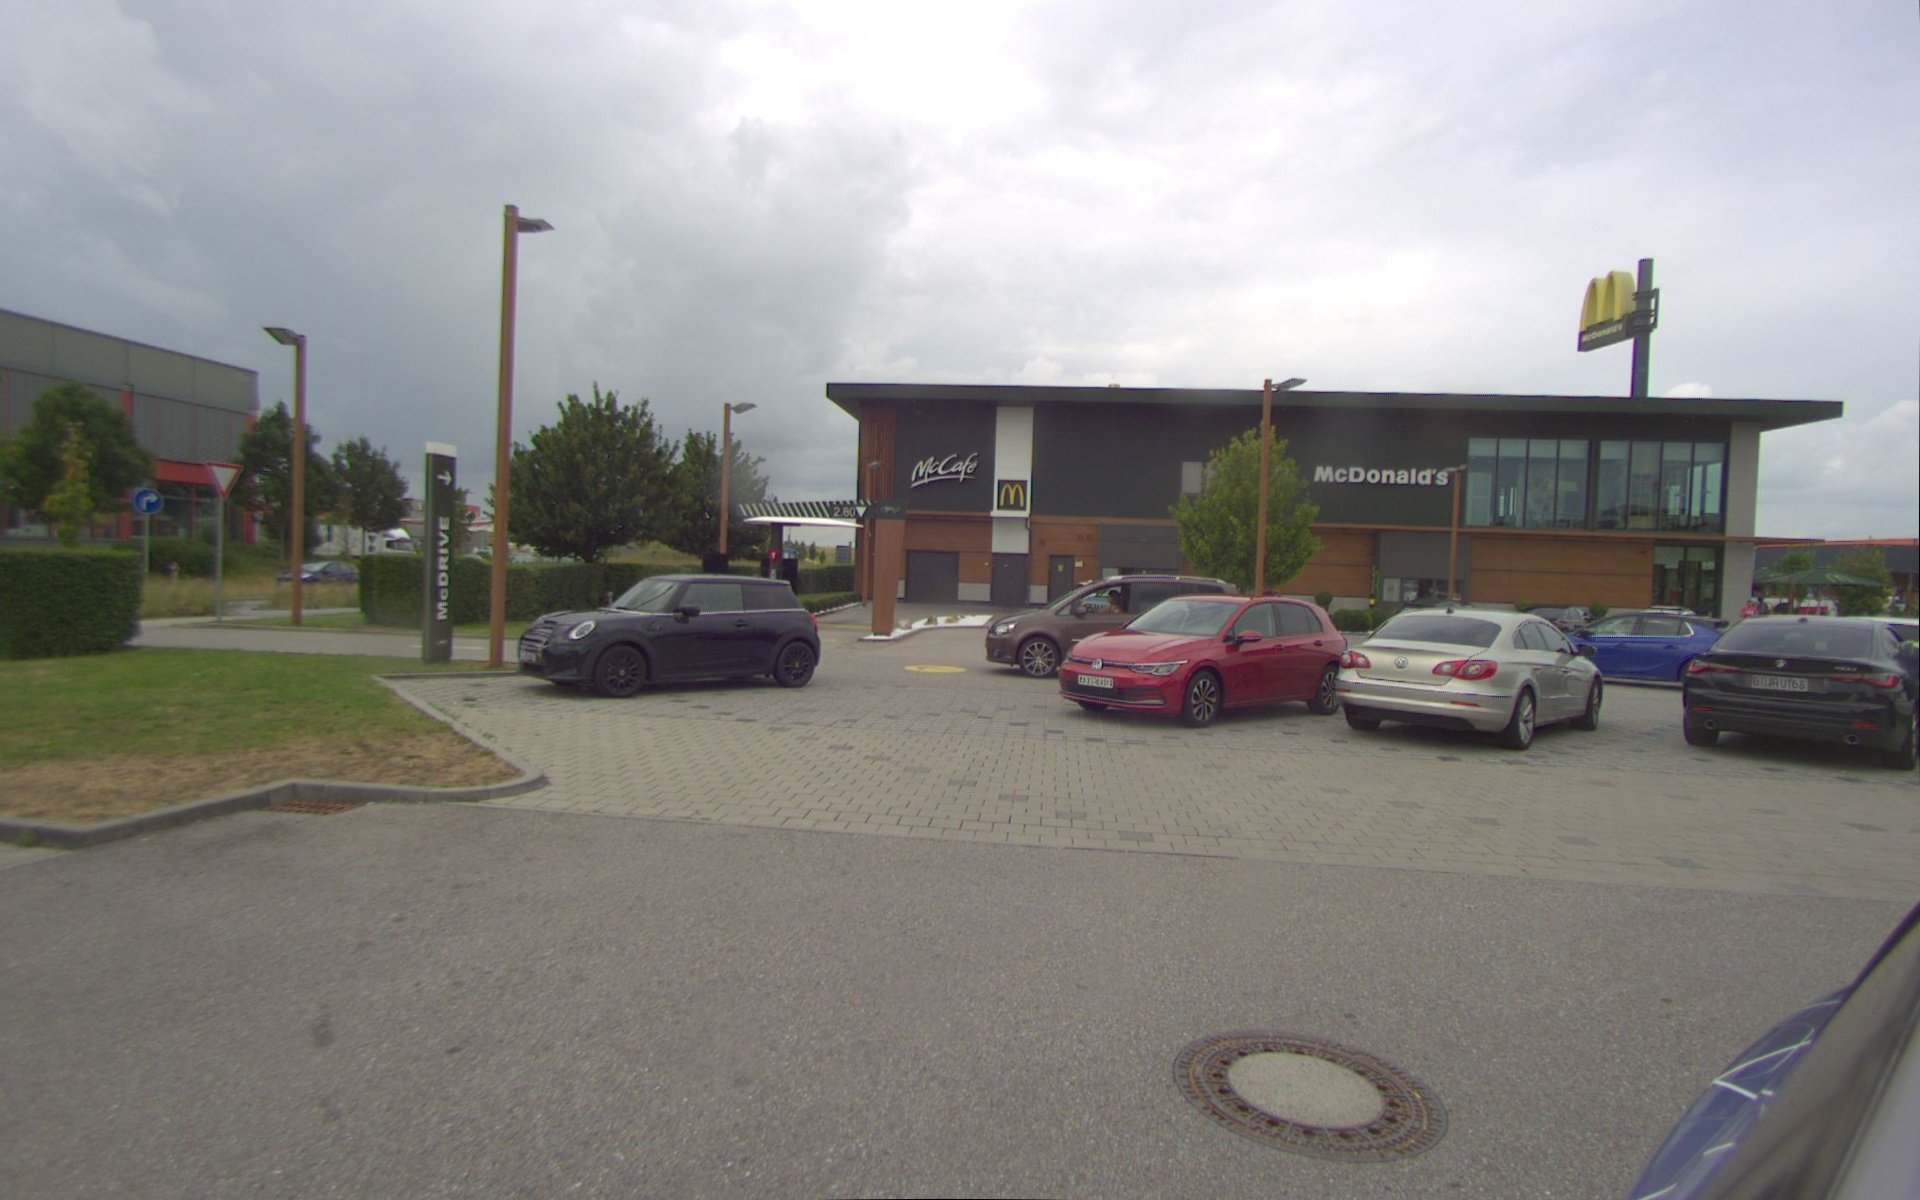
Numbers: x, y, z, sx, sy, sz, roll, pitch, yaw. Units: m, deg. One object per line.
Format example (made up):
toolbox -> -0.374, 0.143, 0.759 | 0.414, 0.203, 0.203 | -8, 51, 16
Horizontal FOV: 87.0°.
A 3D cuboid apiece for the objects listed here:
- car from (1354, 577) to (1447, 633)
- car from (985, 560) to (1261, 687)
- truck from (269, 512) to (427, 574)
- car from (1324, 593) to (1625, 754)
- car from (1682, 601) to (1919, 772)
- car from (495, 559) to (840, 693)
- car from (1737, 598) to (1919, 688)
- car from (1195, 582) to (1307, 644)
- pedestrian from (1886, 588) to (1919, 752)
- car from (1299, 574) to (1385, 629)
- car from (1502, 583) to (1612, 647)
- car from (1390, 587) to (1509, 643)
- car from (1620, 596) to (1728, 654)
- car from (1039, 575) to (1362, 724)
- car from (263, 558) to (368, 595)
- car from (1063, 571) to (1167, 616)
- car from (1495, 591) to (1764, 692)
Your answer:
car -> 15.961, 0.114, 36.881 | 1.721, 1.775, 3.998 | 3, 2, 3
car -> 2.520, 0.328, 16.456 | 4.113, 1.710, 1.811 | 3, 2, 2
truck -> -52.288, -4.887, 86.529 | 11.799, 4.553, 3.760 | 4, 2, 8
car -> 5.969, 0.696, 11.468 | 1.749, 1.430, 4.387 | 2, 1, 45
car -> 9.574, 0.808, 11.172 | 4.331, 1.481, 1.684 | 1, 1, -42
car -> -3.593, 0.280, 12.877 | 3.866, 1.430, 1.683 | 1, 1, -45
car -> 17.289, 0.824, 18.946 | 1.750, 1.485, 4.102 | 3, 0, -44
car -> 9.583, 0.352, 33.187 | 1.993, 1.771, 3.940 | 5, 4, 42
pedestrian -> 10.337, 0.733, 10.675 | 0.828, 1.699, 0.748 | 1, -1, -41
car -> 13.864, -0.006, 36.957 | 1.721, 1.775, 3.998 | 3, 2, 3
car -> 18.847, 0.404, 31.867 | 4.190, 1.681, 1.895 | -2, 5, -44
car -> 15.627, 0.425, 32.237 | 4.019, 1.593, 1.837 | 0, 3, -39
car -> 22.595, 0.723, 31.965 | 3.930, 1.504, 1.789 | -2, 5, -40
car -> 2.970, 0.517, 12.128 | 3.927, 1.482, 1.686 | 1, 1, -39
car -> -28.378, -1.040, 44.719 | 1.635, 1.477, 3.908 | 4, 2, 12
car -> 6.217, -0.282, 40.941 | 3.930, 1.524, 1.787 | 3, 2, 5
car -> 12.988, 0.733, 19.837 | 1.737, 1.528, 3.998 | 1, 3, -39
